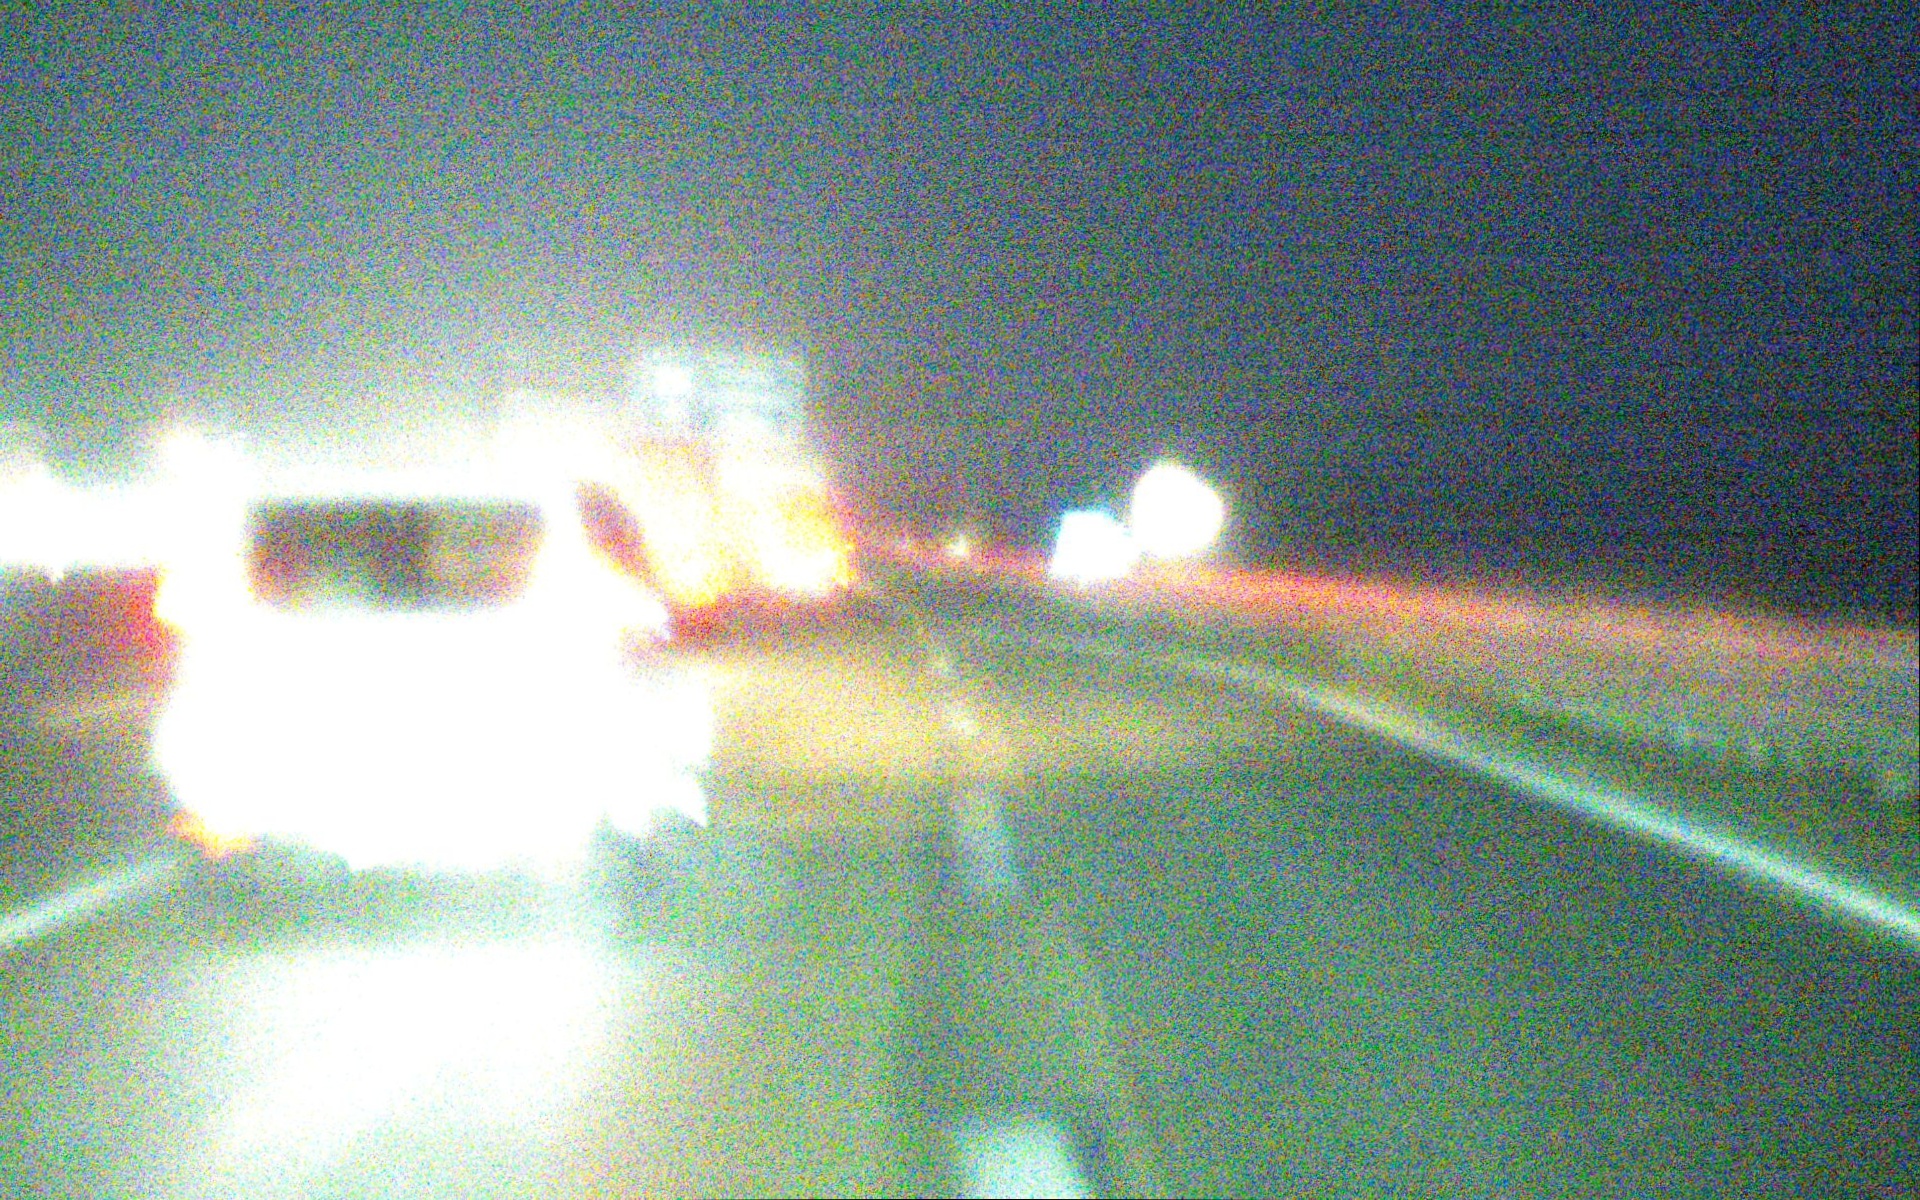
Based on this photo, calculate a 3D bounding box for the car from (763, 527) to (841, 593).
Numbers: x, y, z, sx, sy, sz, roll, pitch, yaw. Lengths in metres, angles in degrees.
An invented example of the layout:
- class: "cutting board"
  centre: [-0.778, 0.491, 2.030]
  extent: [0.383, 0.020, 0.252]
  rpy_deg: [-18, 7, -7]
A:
- class: "car"
  centre: [-4.346, -1.102, 93.894]
  extent: [1.993, 1.701, 4.196]
  rpy_deg: [1, 1, -4]

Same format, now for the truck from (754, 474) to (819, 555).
- class: "truck"
  centre: [-10.942, -5.331, 216.105]
  extent: [3.823, 4.898, 11.608]
  rpy_deg: [1, 1, -4]

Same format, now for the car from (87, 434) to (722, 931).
- class: "car"
  centre: [-2.224, 0.266, 15.215]
  extent: [1.953, 1.786, 5.124]
  rpy_deg: [1, 1, 0]

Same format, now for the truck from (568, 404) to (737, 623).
- class: "truck"
  centre: [-8.336, -2.328, 95.026]
  extent: [4.167, 5.525, 13.076]
  rpy_deg: [1, 1, -4]
